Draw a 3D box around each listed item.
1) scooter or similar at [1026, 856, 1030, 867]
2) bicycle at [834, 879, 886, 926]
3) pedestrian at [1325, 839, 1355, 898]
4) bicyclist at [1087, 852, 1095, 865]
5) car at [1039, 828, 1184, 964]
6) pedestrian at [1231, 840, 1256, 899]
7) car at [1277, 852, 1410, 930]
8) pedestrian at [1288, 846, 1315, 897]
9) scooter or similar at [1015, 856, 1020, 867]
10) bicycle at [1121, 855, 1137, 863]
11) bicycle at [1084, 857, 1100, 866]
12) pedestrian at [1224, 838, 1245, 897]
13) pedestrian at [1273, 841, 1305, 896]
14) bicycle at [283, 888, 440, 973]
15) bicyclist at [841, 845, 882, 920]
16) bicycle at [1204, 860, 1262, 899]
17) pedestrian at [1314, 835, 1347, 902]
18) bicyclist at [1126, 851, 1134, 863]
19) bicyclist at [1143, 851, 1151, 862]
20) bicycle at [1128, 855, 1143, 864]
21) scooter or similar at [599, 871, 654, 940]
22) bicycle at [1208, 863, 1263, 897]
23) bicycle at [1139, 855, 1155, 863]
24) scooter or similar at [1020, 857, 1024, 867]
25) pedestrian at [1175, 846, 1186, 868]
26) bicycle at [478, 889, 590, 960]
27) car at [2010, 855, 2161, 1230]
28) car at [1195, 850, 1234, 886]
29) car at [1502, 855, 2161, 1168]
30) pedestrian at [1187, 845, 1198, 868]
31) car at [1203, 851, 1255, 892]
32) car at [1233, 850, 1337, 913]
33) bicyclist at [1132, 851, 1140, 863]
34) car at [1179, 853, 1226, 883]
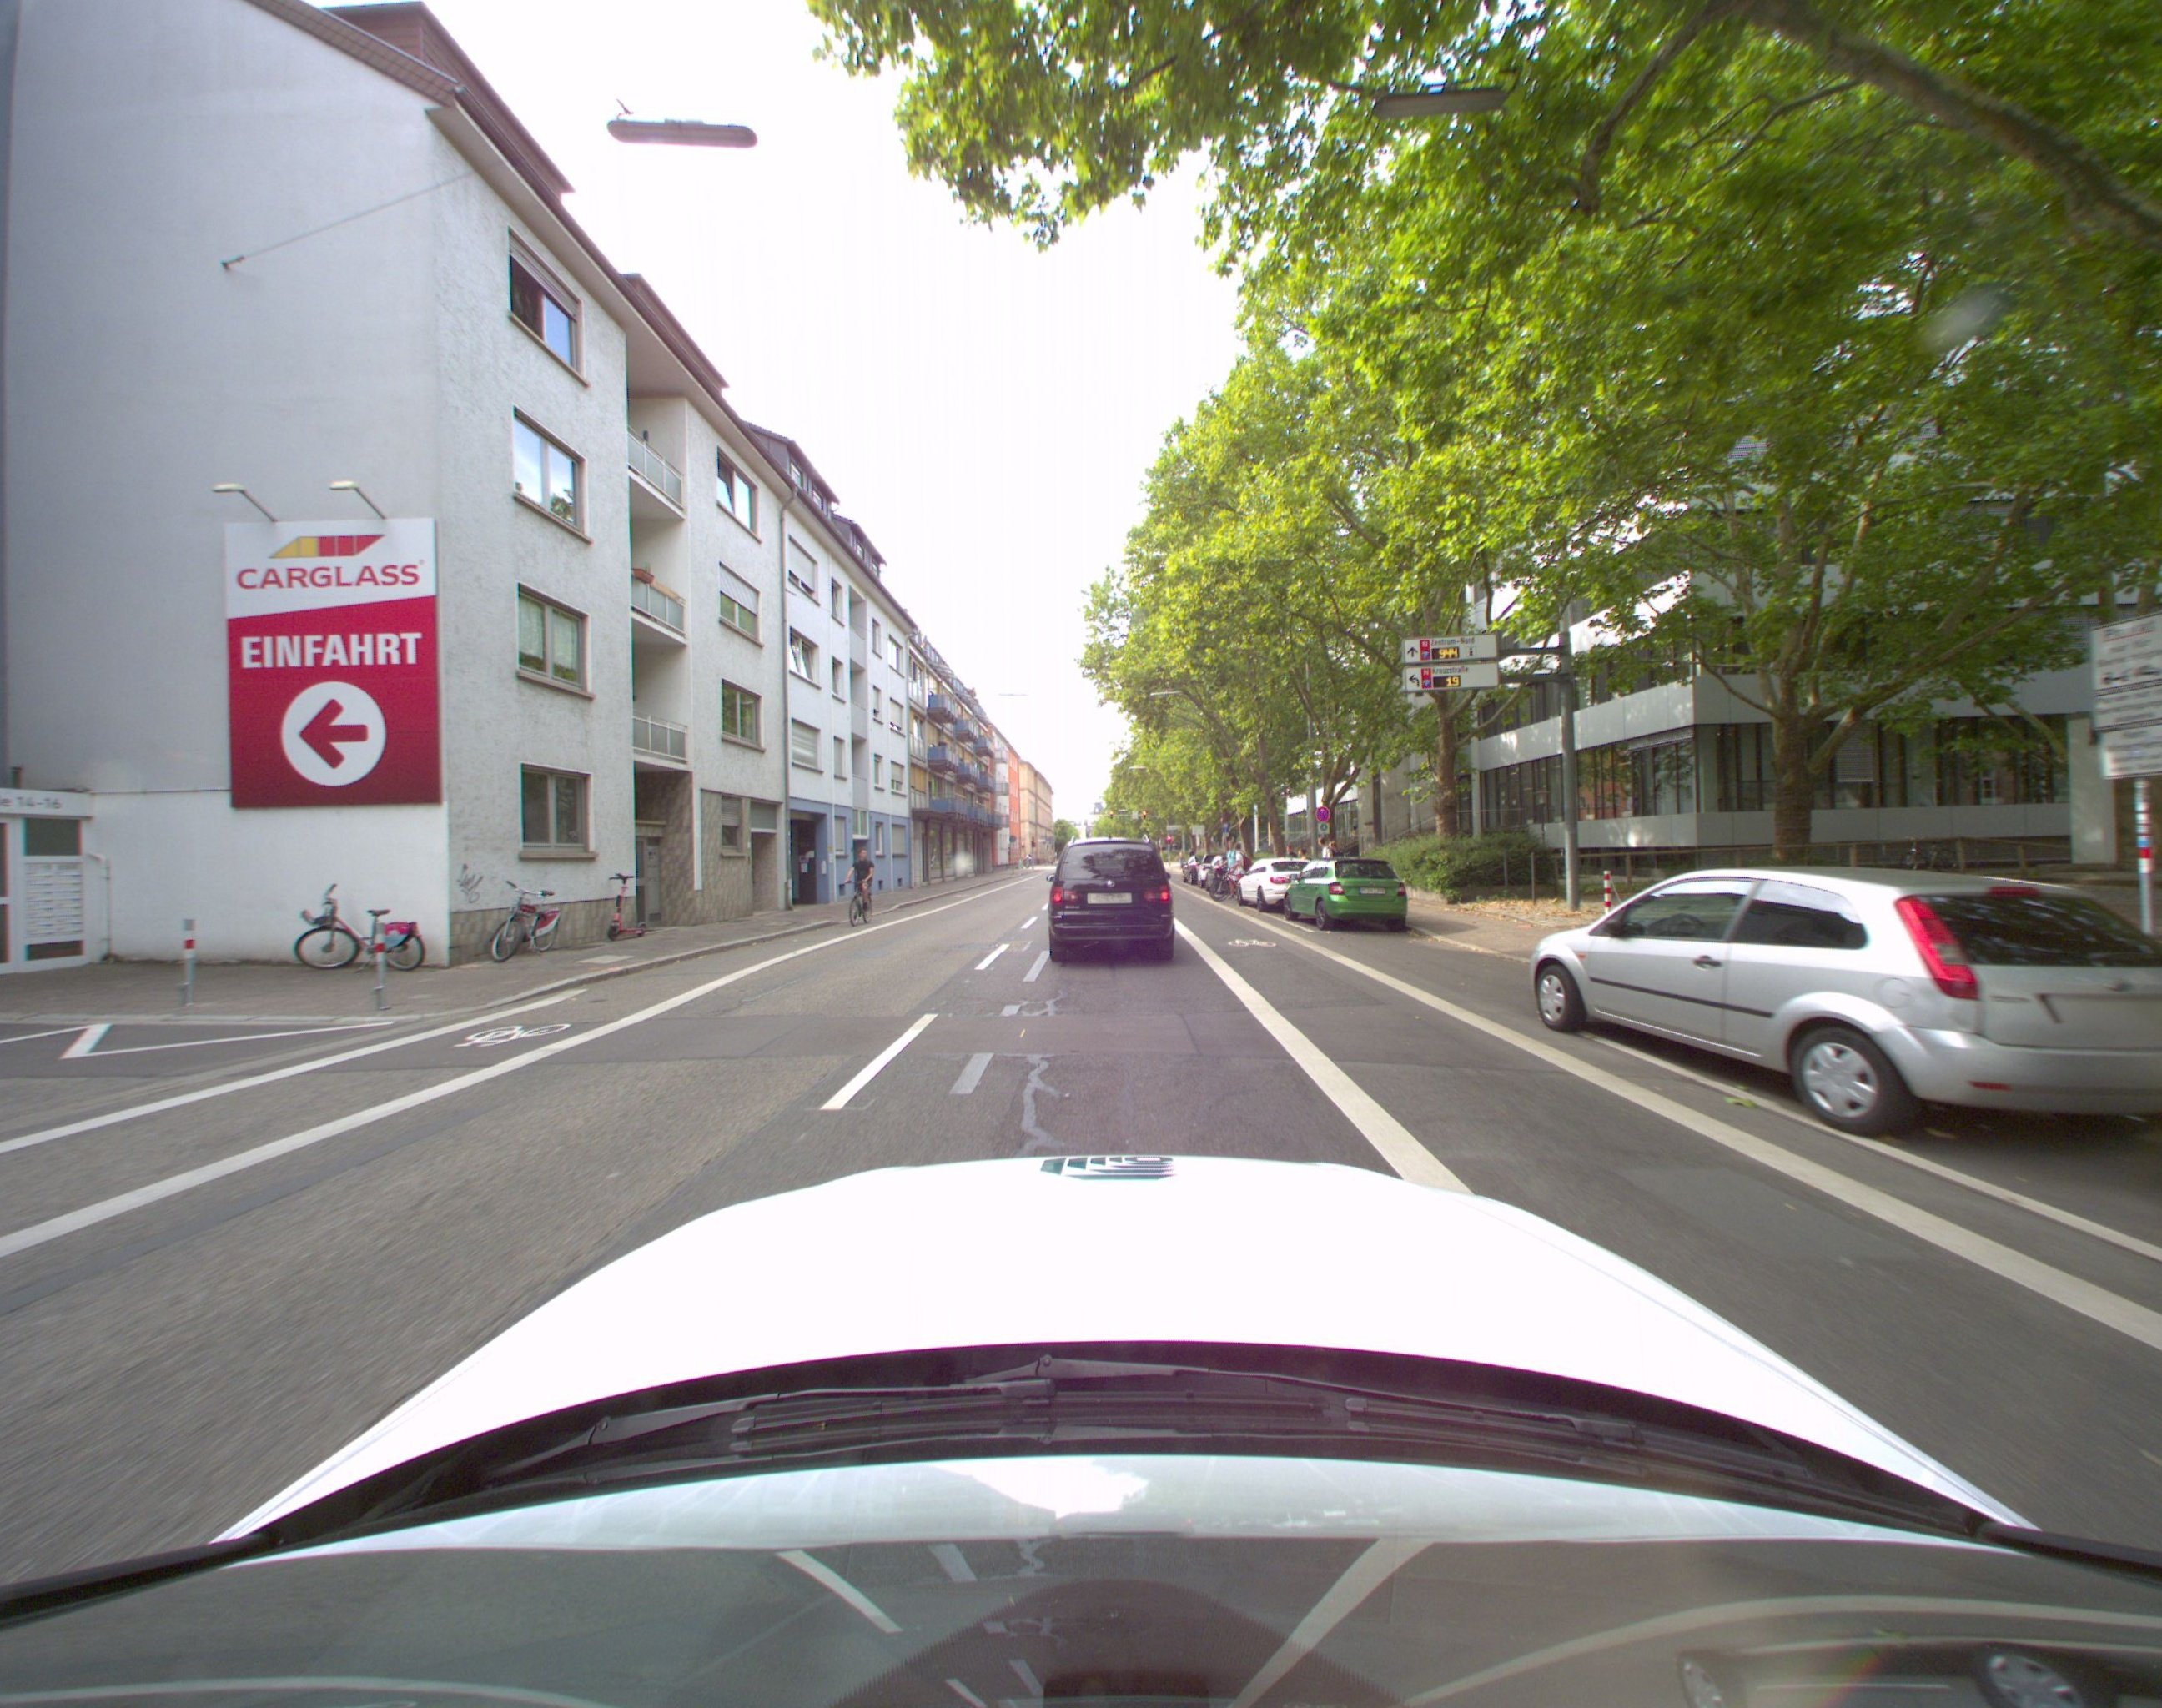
[{"bbox_3d":[-5.945,0.856,91.025,0.377,1.144,1.141,-1,-2,-2],"label":"scooter or similar"},{"bbox_3d":[-5.474,1.178,20.292,0.643,1.014,2.077,-2,0,1],"label":"bicycle"},{"bbox_3d":[8.136,0.451,25.602,0.718,1.855,0.704,0,0,1],"label":"pedestrian"},{"bbox_3d":[1.188,0.535,97.207,0.854,1.567,0.576,0,-1,-7],"label":"bicyclist"},{"bbox_3d":[0.439,0.539,12.921,1.867,1.745,4.574,-1,0,1],"label":"car"},{"bbox_3d":[5.178,0.483,25.939,0.520,1.845,0.741,0,0,-13],"label":"pedestrian"},{"bbox_3d":[5.477,0.704,17.473,1.582,1.449,3.804,1,0,-1],"label":"car"},{"bbox_3d":[7.193,0.567,26.602,0.718,1.658,0.655,0,0,1],"label":"pedestrian"},{"bbox_3d":[-6.591,0.795,84.396,0.376,1.184,1.390,-1,-2,2],"label":"scooter or similar"},{"bbox_3d":[6.134,0.667,103.949,1.924,1.028,0.581,0,0,-9],"label":"bicycle"},{"bbox_3d":[1.289,0.889,97.218,1.922,1.028,0.582,0,0,-7],"label":"bicycle"},{"bbox_3d":[5.123,0.445,27.215,0.474,1.934,0.742,0,0,-9],"label":"pedestrian"},{"bbox_3d":[6.977,0.490,27.363,0.867,1.816,0.780,0,0,1],"label":"pedestrian"},{"bbox_3d":[-9.873,1.036,11.194,1.765,1.117,0.453,0,0,1],"label":"bicycle"},{"bbox_3d":[-5.488,0.698,20.379,0.649,1.811,1.046,-2,-1,2],"label":"bicyclist"},{"bbox_3d":[4.883,0.802,26.165,1.793,1.217,0.550,0,0,-16],"label":"bicycle"},{"bbox_3d":[7.617,0.434,24.870,0.790,1.997,0.750,0,0,1],"label":"pedestrian"},{"bbox_3d":[6.195,0.368,103.960,0.914,1.466,0.568,0,0,-9],"label":"bicyclist"},{"bbox_3d":[8.549,0.329,105.467,0.915,1.466,0.568,0,0,-11],"label":"bicyclist"},{"bbox_3d":[6.847,0.687,102.394,1.924,1.028,0.581,0,0,-9],"label":"bicycle"},{"bbox_3d":[-8.584,0.947,15.417,0.348,1.221,1.202,0,0,2],"label":"scooter or similar"},{"bbox_3d":[5.210,0.862,27.483,1.734,1.105,0.550,0,0,-10],"label":"bicycle"},{"bbox_3d":[8.561,0.683,105.462,1.925,1.028,0.581,0,0,-12],"label":"bicycle"},{"bbox_3d":[-6.576,0.874,90.690,0.377,1.147,1.141,-1,-2,-2],"label":"scooter or similar"},{"bbox_3d":[8.341,0.262,68.109,0.708,1.783,1.033,-3,-1,0],"label":"pedestrian"},{"bbox_3d":[-8.479,1.061,12.709,0.595,0.950,1.663,0,0,2],"label":"bicycle"},{"bbox_3d":[5.000,0.744,1.560,1.747,1.447,4.220,1,0,2],"label":"car"},{"bbox_3d":[6.026,0.599,36.876,1.528,1.543,2.602,0,0,4],"label":"car"},{"bbox_3d":[4.894,0.746,5.814,1.639,1.447,3.879,0,0,-3],"label":"car"},{"bbox_3d":[9.341,0.216,68.055,0.712,1.800,1.033,-3,-1,0],"label":"pedestrian"},{"bbox_3d":[5.773,0.637,32.079,1.522,1.502,3.661,0,0,2],"label":"car"},{"bbox_3d":[5.464,0.676,22.372,1.675,1.516,4.543,1,0,-1],"label":"car"},{"bbox_3d":[6.864,0.415,102.385,0.914,1.466,0.568,0,0,-9],"label":"bicyclist"},{"bbox_3d":[6.058,0.655,41.017,1.692,1.425,4.420,0,0,-1],"label":"car"}]
